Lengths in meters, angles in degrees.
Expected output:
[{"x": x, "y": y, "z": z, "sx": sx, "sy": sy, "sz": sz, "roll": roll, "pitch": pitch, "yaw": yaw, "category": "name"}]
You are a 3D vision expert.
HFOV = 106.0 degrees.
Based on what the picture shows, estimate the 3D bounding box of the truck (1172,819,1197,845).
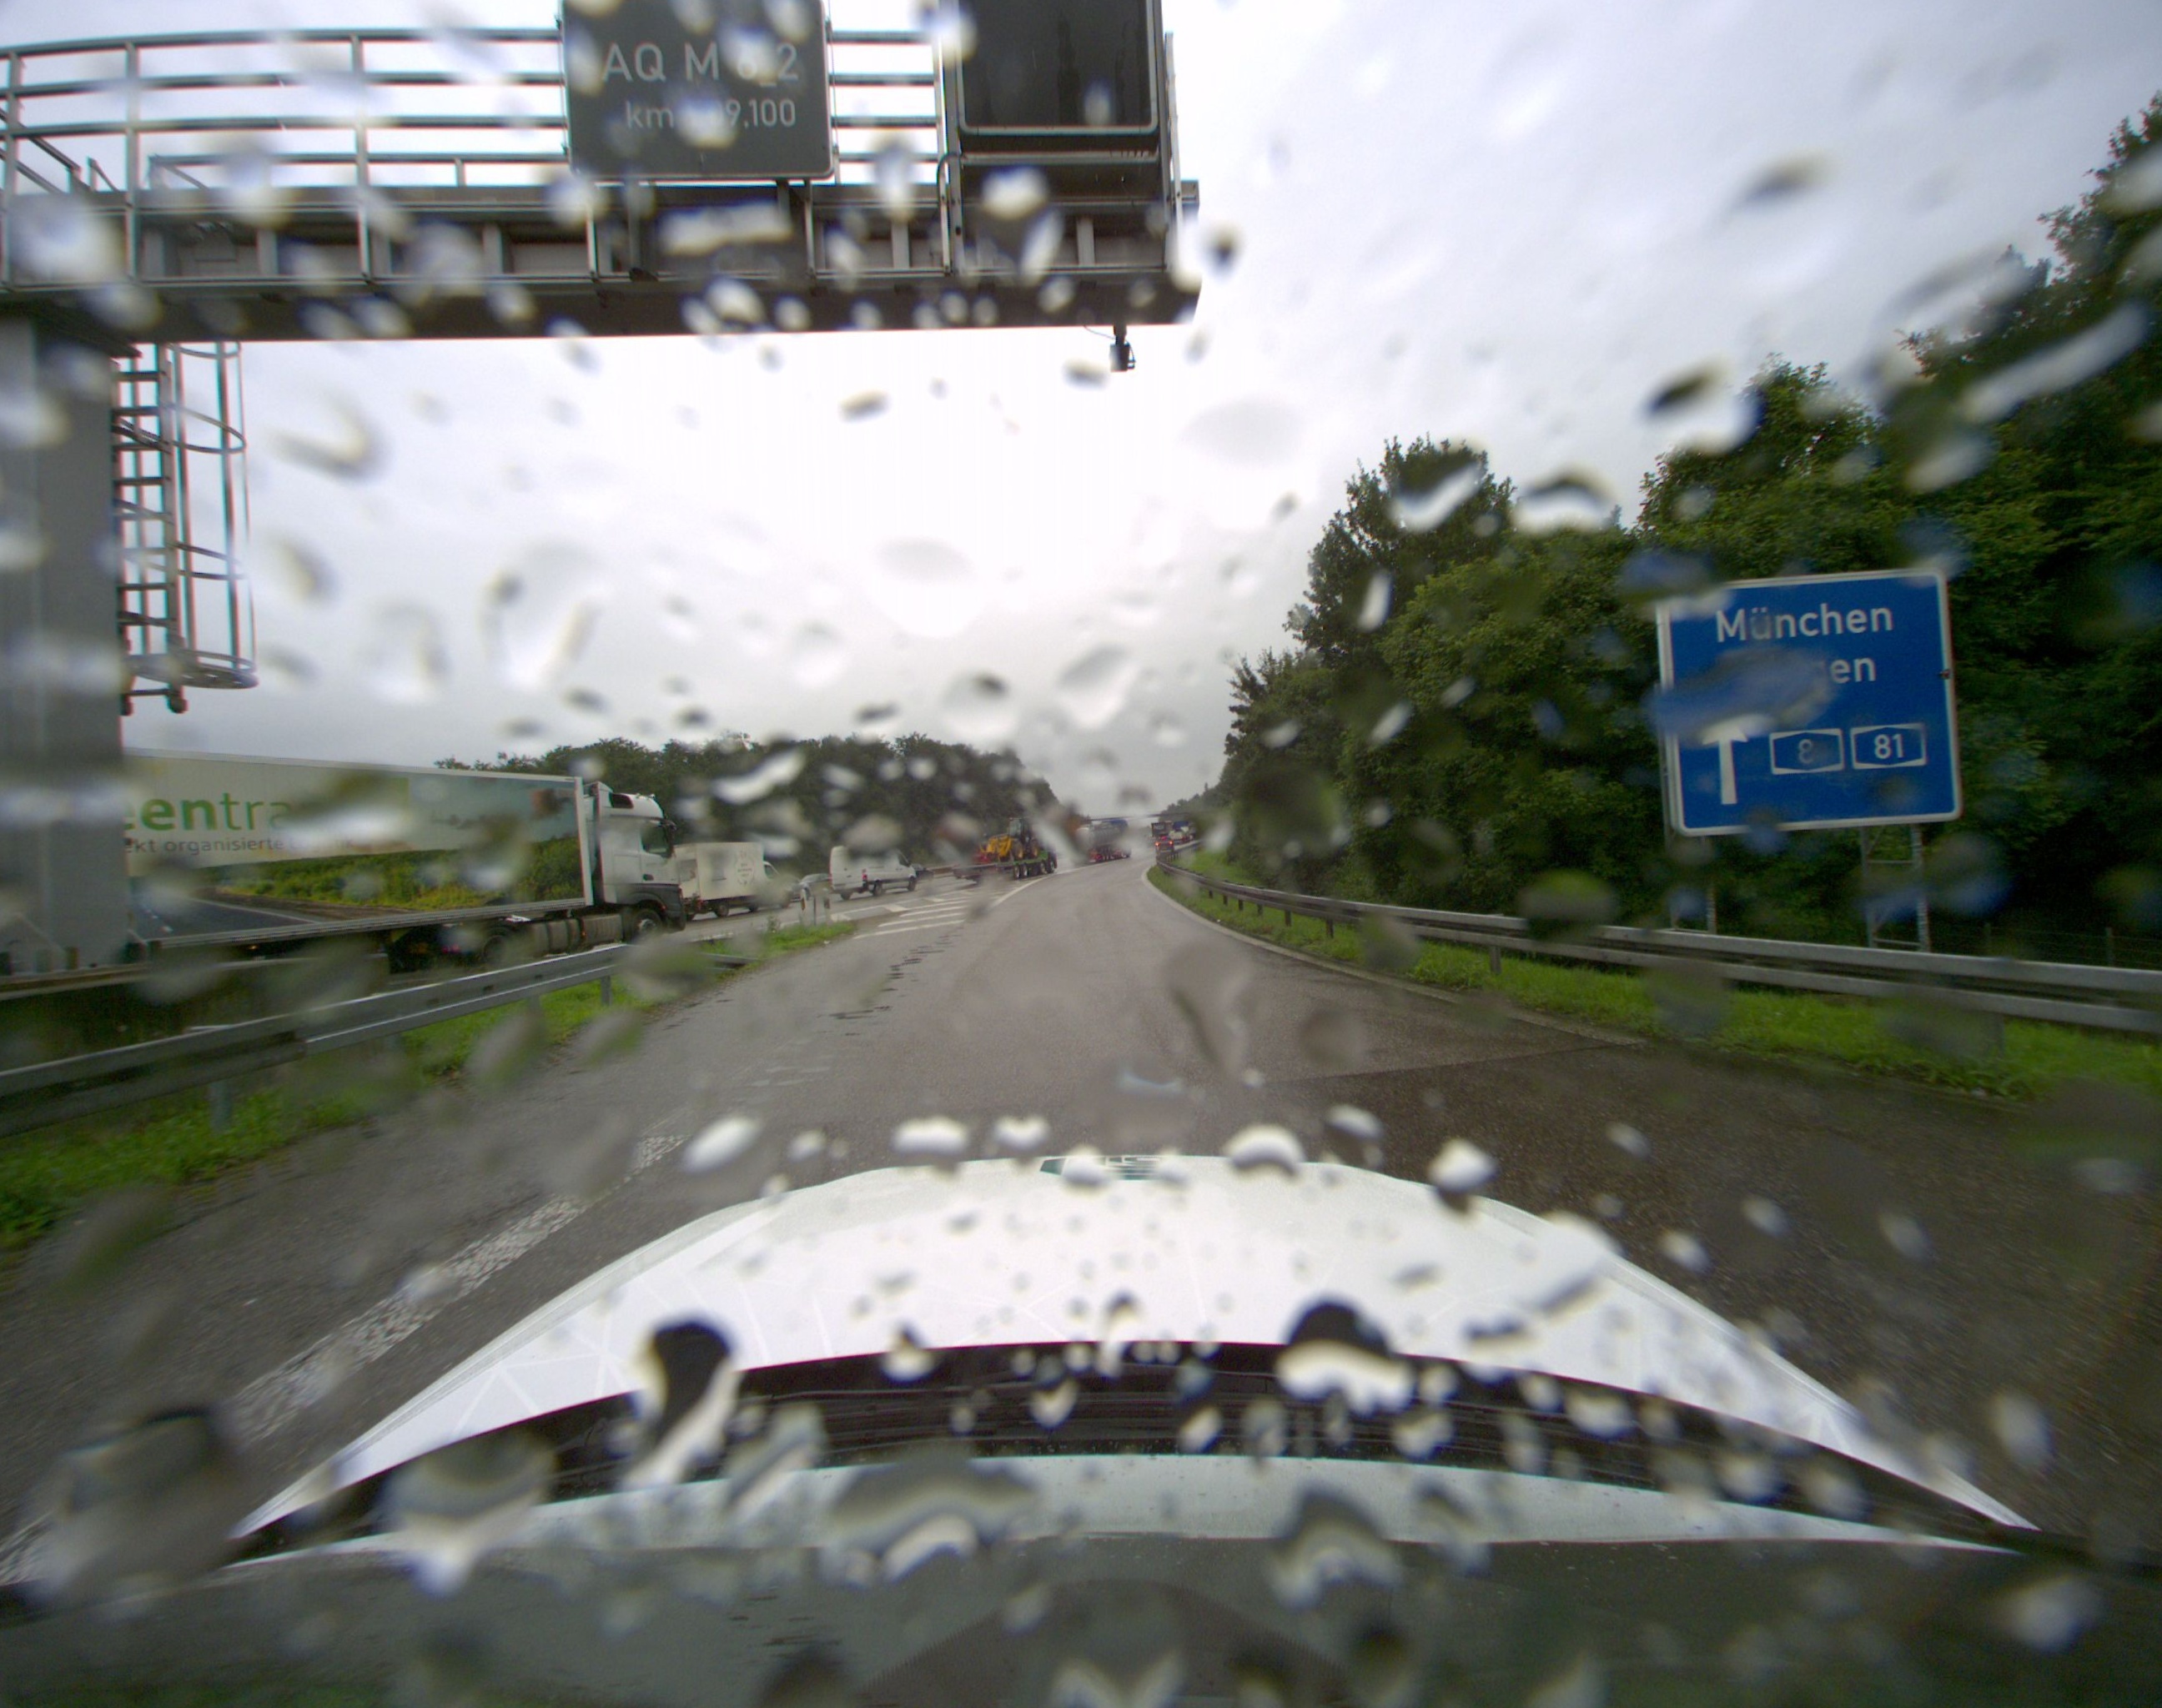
[{"x": 18.787, "y": -3.912, "z": 147.096, "sx": 3.483, "sy": 4.267, "sz": 10.639, "roll": -2, "pitch": 0, "yaw": 12, "category": "truck"}]

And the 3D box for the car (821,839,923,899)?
[{"x": -10.514, "y": 0.687, "z": 41.533, "sx": 2.199, "sy": 2.629, "sz": 5.869, "roll": -5, "pitch": 0, "yaw": 15, "category": "car"}]

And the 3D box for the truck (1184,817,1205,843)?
[{"x": 26.987, "y": -5.529, "z": 192.985, "sx": 4.309, "sy": 5.763, "sz": 9.758, "roll": -2, "pitch": 0, "yaw": 10, "category": "truck"}]

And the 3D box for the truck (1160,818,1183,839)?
[{"x": 19.746, "y": -5.471, "z": 176.424, "sx": 3.552, "sy": 4.095, "sz": 10.917, "roll": -5, "pitch": -1, "yaw": 12, "category": "truck"}]

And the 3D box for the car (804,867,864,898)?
[{"x": -16.167, "y": 1.848, "z": 53.559, "sx": 1.762, "sy": 1.705, "sz": 4.017, "roll": -5, "pitch": 0, "yaw": 16, "category": "car"}]

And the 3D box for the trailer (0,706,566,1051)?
[{"x": -14.352, "y": 0.382, "z": 10.970, "sx": 2.896, "sy": 4.204, "sz": 13.697, "roll": -5, "pitch": 0, "yaw": 17, "category": "trailer"}]

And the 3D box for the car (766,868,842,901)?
[{"x": -16.322, "y": 1.740, "z": 48.226, "sx": 1.852, "sy": 1.522, "sz": 4.650, "roll": -5, "pitch": 0, "yaw": 15, "category": "car"}]

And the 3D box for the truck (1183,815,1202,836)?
[{"x": 23.355, "y": -5.949, "z": 170.246, "sx": 3.733, "sy": 3.970, "sz": 11.087, "roll": -2, "pitch": 0, "yaw": 9, "category": "truck"}]

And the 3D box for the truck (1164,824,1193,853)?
[{"x": 15.880, "y": -2.596, "z": 131.378, "sx": 3.577, "sy": 4.104, "sz": 11.596, "roll": -5, "pitch": 1, "yaw": 11, "category": "truck"}]

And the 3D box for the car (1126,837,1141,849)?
[{"x": 8.892, "y": -1.808, "z": 137.488, "sx": 1.786, "sy": 1.903, "sz": 4.014, "roll": -5, "pitch": 0, "yaw": 12, "category": "car"}]

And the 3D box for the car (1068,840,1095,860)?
[{"x": 0.075, "y": -0.374, "z": 81.442, "sx": 1.807, "sy": 1.766, "sz": 4.015, "roll": -4, "pitch": 1, "yaw": 13, "category": "car"}]

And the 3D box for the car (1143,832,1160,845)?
[{"x": 17.279, "y": -3.858, "z": 198.939, "sx": 3.224, "sy": 3.002, "sz": 6.796, "roll": -2, "pitch": 0, "yaw": 12, "category": "car"}]

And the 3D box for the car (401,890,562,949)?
[{"x": -21.175, "y": 2.273, "z": 29.021, "sx": 1.603, "sy": 1.522, "sz": 4.434, "roll": -5, "pitch": 0, "yaw": 16, "category": "car"}]

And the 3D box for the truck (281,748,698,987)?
[{"x": -12.281, "y": 0.214, "z": 17.900, "sx": 2.896, "sy": 4.098, "sz": 6.749, "roll": -5, "pitch": 0, "yaw": 17, "category": "truck"}]

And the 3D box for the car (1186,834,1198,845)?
[{"x": 21.206, "y": -2.814, "z": 155.242, "sx": 1.786, "sy": 1.903, "sz": 4.013, "roll": -5, "pitch": 0, "yaw": 11, "category": "car"}]

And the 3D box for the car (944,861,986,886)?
[{"x": -8.859, "y": 1.472, "z": 62.491, "sx": 1.773, "sy": 1.727, "sz": 4.015, "roll": -2, "pitch": 0, "yaw": 13, "category": "car"}]

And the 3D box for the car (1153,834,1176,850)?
[{"x": 8.851, "y": -1.221, "z": 86.170, "sx": 1.980, "sy": 1.636, "sz": 4.013, "roll": -2, "pitch": 0, "yaw": 12, "category": "car"}]

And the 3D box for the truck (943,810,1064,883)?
[{"x": -4.239, "y": -0.600, "z": 48.567, "sx": 2.810, "sy": 3.588, "sz": 11.848, "roll": -6, "pitch": 0, "yaw": 15, "category": "truck"}]

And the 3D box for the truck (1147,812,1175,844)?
[{"x": 14.637, "y": -4.685, "z": 148.673, "sx": 3.729, "sy": 5.498, "sz": 10.208, "roll": -2, "pitch": 0, "yaw": 12, "category": "truck"}]

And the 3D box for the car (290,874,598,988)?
[{"x": -18.859, "y": 2.129, "z": 24.891, "sx": 2.132, "sy": 2.488, "sz": 7.398, "roll": -5, "pitch": 0, "yaw": 16, "category": "car"}]

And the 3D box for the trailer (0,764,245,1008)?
[{"x": -19.418, "y": 0.731, "z": 9.470, "sx": 2.607, "sy": 3.863, "sz": 13.734, "roll": -5, "pitch": 0, "yaw": 15, "category": "trailer"}]

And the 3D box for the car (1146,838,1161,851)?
[{"x": 11.417, "y": -1.457, "z": 127.605, "sx": 1.786, "sy": 1.903, "sz": 4.013, "roll": -2, "pitch": 0, "yaw": 11, "category": "car"}]

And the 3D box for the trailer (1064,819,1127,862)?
[{"x": 1.417, "y": -1.292, "z": 70.913, "sx": 2.852, "sy": 3.288, "sz": 10.120, "roll": -5, "pitch": 1, "yaw": 15, "category": "trailer"}]

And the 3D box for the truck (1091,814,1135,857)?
[{"x": 3.124, "y": -1.794, "z": 77.564, "sx": 2.856, "sy": 3.693, "sz": 5.077, "roll": -5, "pitch": 1, "yaw": 14, "category": "truck"}]

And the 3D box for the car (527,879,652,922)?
[{"x": -22.075, "y": 2.068, "z": 36.869, "sx": 1.731, "sy": 1.424, "sz": 4.855, "roll": -5, "pitch": 0, "yaw": 16, "category": "car"}]

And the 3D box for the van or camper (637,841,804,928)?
[{"x": -15.624, "y": 1.164, "z": 35.983, "sx": 2.560, "sy": 3.203, "sz": 7.160, "roll": -5, "pitch": 0, "yaw": 15, "category": "van or camper"}]
